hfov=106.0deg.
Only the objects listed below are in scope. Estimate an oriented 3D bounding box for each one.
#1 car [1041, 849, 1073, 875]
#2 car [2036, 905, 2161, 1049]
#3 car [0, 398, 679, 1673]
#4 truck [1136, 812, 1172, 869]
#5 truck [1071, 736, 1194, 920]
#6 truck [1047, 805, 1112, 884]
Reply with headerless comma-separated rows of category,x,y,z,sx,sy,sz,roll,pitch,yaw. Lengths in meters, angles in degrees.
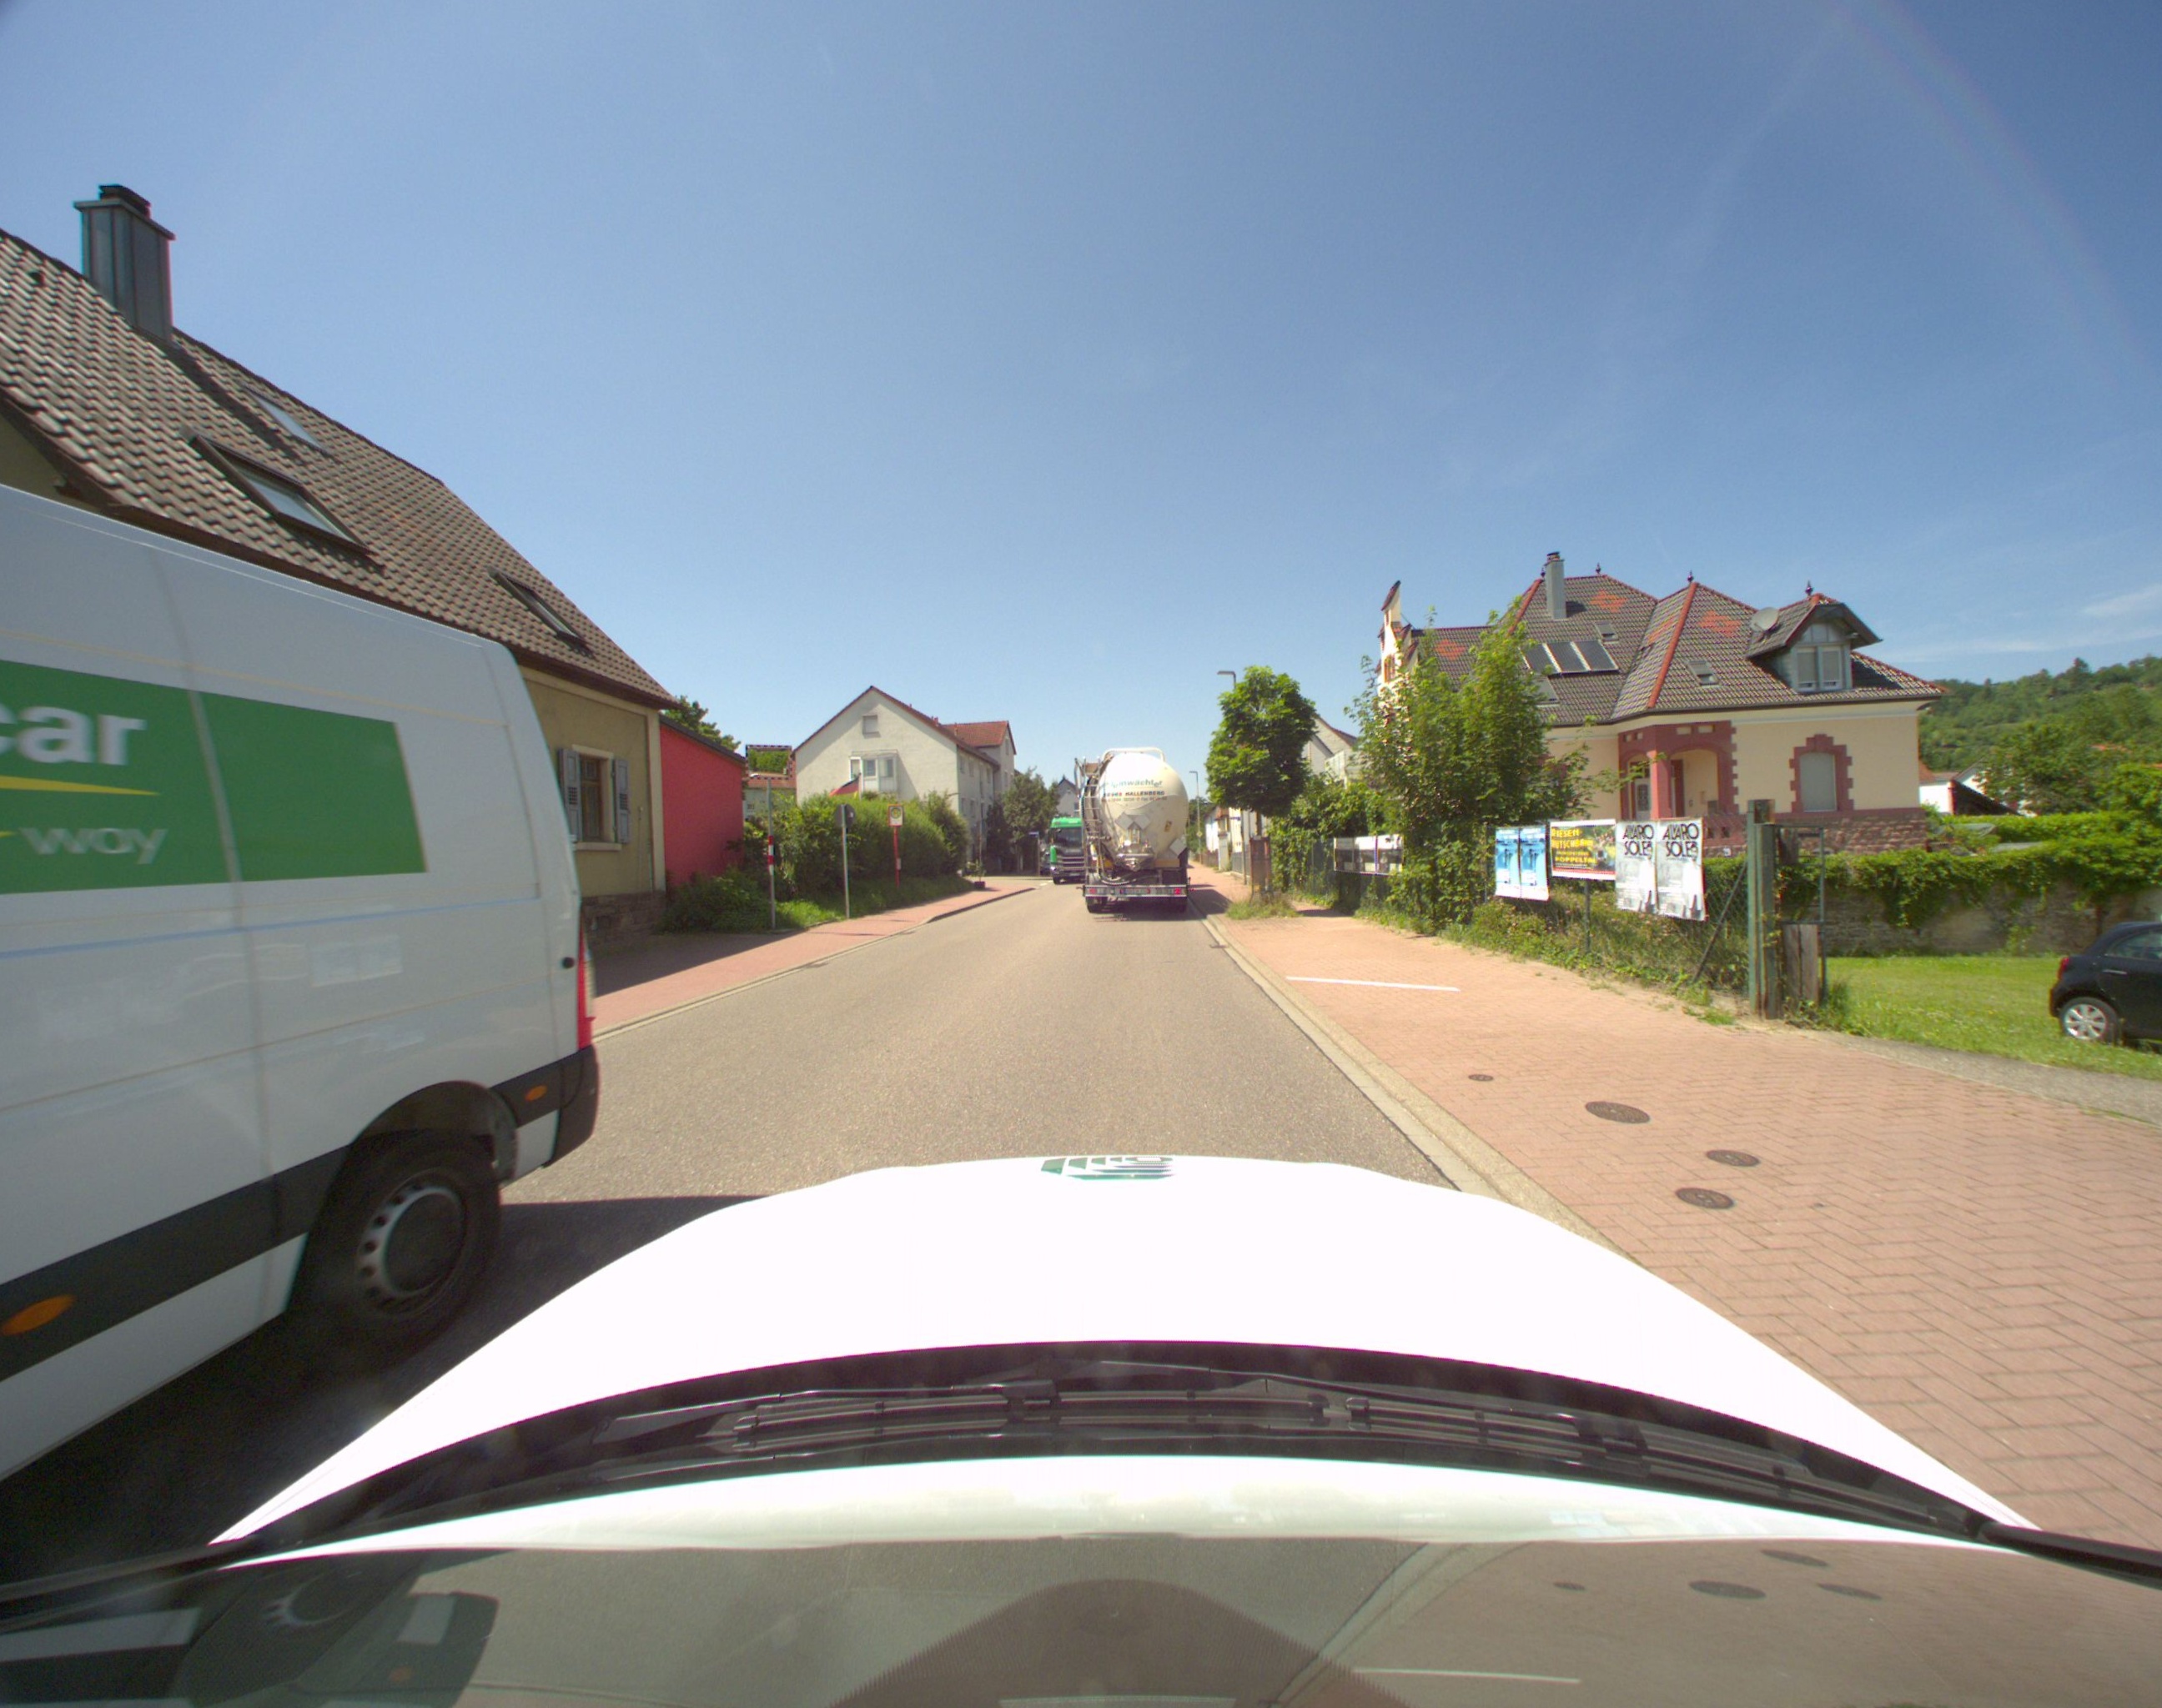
car,-1.610,0.499,56.799,1.698,1.686,4.532,-1,0,5
car,12.066,1.372,7.900,1.485,1.473,3.575,6,-1,4
car,-3.139,0.376,0.919,2.022,2.460,6.071,-4,0,2
truck,6.030,-1.048,67.924,2.629,4.224,12.109,-2,0,5
truck,1.353,-0.601,22.738,2.630,4.015,9.567,-1,0,3
truck,0.110,-0.507,44.686,2.555,3.700,10.091,-3,0,4
